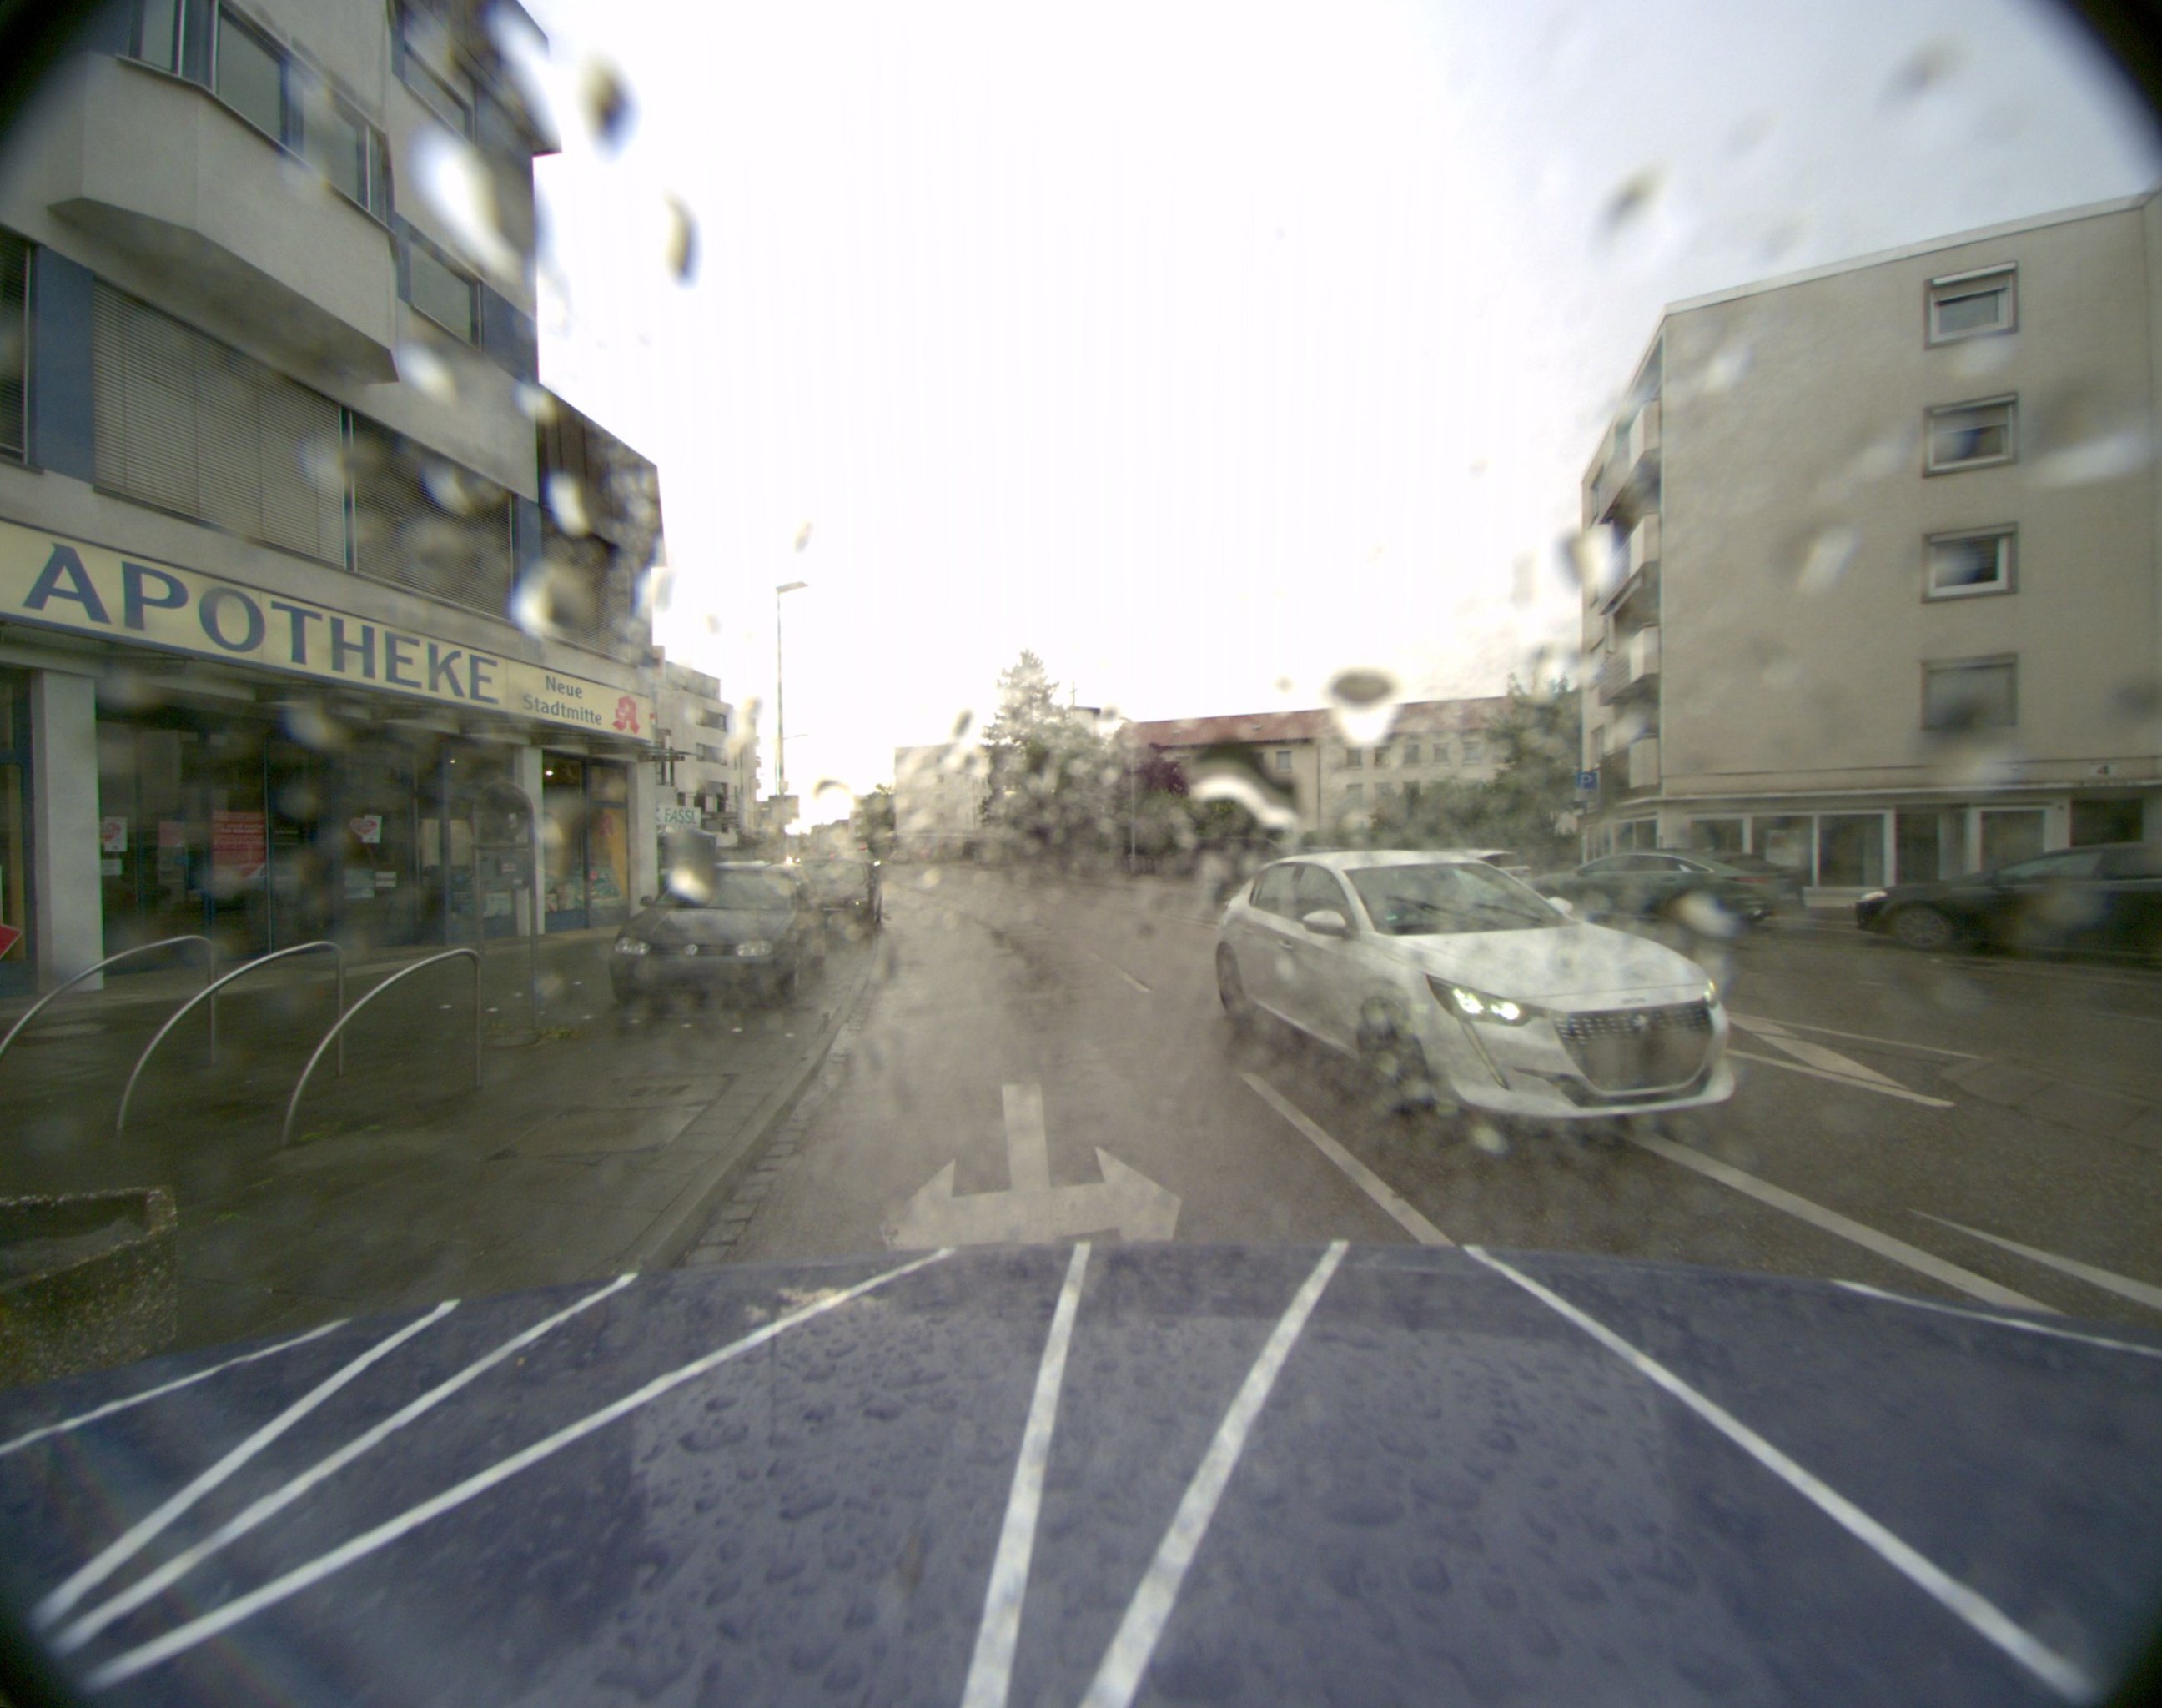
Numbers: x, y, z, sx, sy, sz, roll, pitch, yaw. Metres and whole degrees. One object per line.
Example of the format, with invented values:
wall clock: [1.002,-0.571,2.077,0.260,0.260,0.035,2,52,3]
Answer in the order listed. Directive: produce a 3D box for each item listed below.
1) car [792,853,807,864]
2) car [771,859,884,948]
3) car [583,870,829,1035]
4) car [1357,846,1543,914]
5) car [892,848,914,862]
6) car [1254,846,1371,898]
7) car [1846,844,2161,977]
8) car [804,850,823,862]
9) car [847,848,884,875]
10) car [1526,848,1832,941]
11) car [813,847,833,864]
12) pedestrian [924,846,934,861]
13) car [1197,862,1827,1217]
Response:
car: [-44.096,0.685,119.055,2.002,1.606,3.993,-3,1,-20]
car: [-4.803,0.849,14.860,1.660,1.416,3.995,-1,1,-12]
car: [-3.995,0.941,8.747,1.656,1.364,3.727,2,0,-12]
car: [9.256,0.569,19.499,1.639,1.491,4.338,-1,1,-21]
car: [-19.383,0.071,82.617,1.874,1.428,3.733,-1,1,-20]
car: [7.433,0.517,24.789,1.636,1.497,3.873,-1,1,-20]
car: [12.918,0.632,9.606,1.839,1.451,4.180,-2,2,-21]
car: [-33.062,0.234,93.829,1.804,1.361,3.964,-1,2,-24]
car: [-13.107,0.404,46.065,1.737,1.436,4.039,-2,2,-21]
car: [11.143,0.635,14.573,1.839,1.426,4.266,-2,2,-21]
car: [-24.865,0.162,73.160,1.736,1.519,4.056,-1,0,-21]
pedestrian: [-17.672,-0.103,88.190,0.857,1.726,0.834,-1,2,-29]
car: [2.297,0.823,5.332,1.744,1.401,3.892,-3,1,-10]
